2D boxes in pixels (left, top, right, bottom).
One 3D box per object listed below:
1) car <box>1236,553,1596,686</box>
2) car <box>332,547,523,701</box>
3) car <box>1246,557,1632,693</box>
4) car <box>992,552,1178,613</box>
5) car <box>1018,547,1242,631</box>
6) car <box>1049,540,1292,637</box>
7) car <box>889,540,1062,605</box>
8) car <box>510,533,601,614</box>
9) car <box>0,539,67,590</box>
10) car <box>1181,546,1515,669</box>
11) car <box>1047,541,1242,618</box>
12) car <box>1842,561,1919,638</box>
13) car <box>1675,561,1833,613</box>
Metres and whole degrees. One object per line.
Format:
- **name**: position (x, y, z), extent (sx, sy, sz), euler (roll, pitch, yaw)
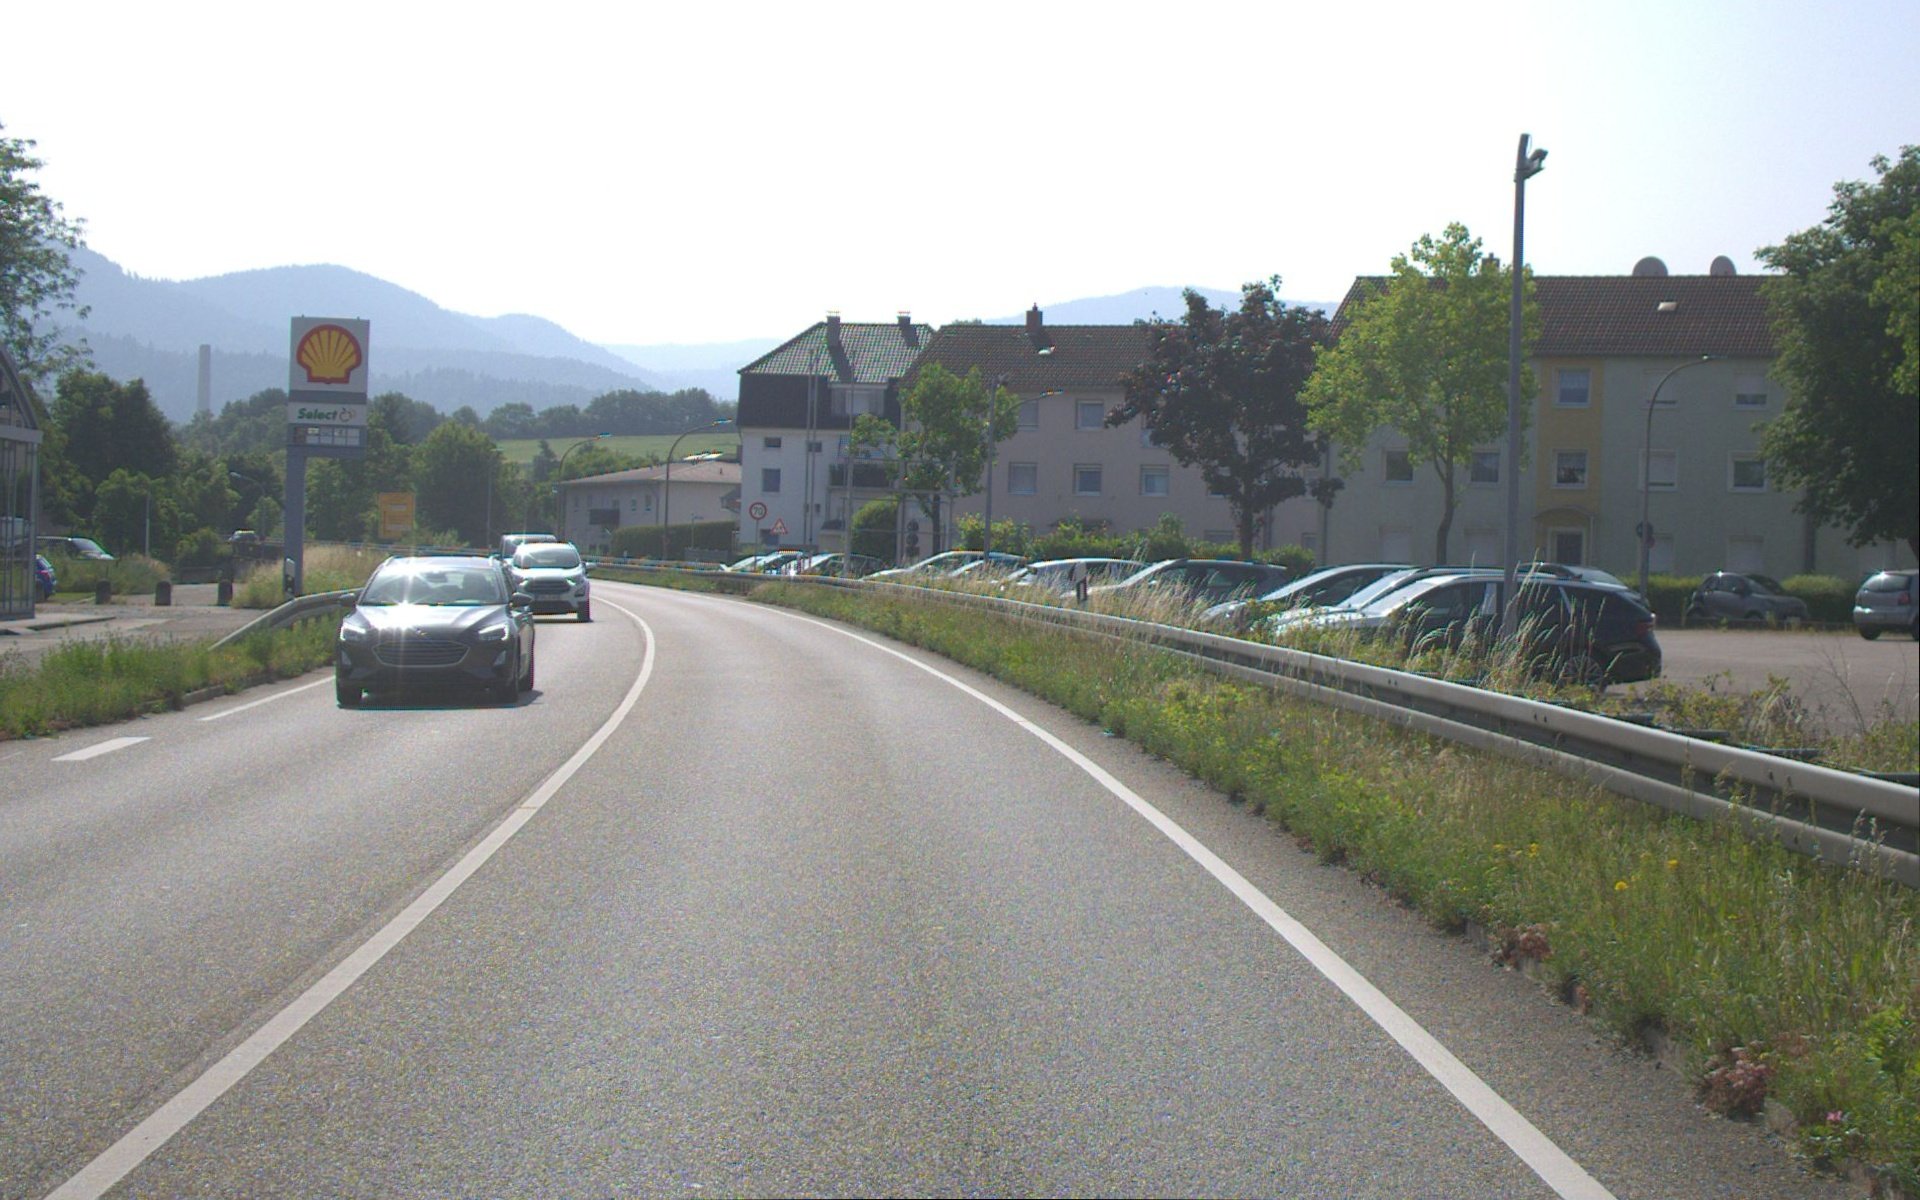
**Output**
- **car**: position (5.651, 0.225, 42.875), extent (4.159, 1.551, 1.771), euler (-1, 1, -4)
- **car**: position (-5.460, 0.195, 35.666), extent (1.751, 1.469, 4.288), euler (-1, 1, -6)
- **car**: position (5.536, 0.273, 40.004), extent (4.159, 1.485, 1.732), euler (-1, 1, -4)
- **car**: position (3.033, -0.429, 84.028), extent (4.319, 1.439, 1.629), euler (0, 1, -8)
- **car**: position (3.246, -0.213, 65.921), extent (3.986, 1.574, 1.779), euler (0, 1, -10)
- **car**: position (3.641, -0.204, 59.960), extent (3.986, 1.634, 1.888), euler (0, 1, -5)
- **car**: position (0.378, -0.714, 89.551), extent (4.318, 1.634, 2.140), euler (0, 1, -5)
- **car**: position (-8.492, -0.581, 72.374), extent (1.792, 1.624, 4.228), euler (-1, 1, -5)
- **car**: position (-29.350, -1.118, 105.131), extent (3.746, 1.494, 1.933), euler (1, 1, -10)
- **car**: position (5.145, 0.087, 45.861), extent (4.159, 1.540, 1.741), euler (-1, 1, -4)
- **car**: position (3.842, -0.426, 72.008), extent (3.846, 1.562, 1.807), euler (0, 1, -5)
- **car**: position (20.137, -0.018, 70.822), extent (3.753, 1.516, 1.657), euler (0, 1, -31)
- **car**: position (18.865, -0.317, 81.754), extent (1.589, 1.182, 3.663), euler (0, 1, -30)
